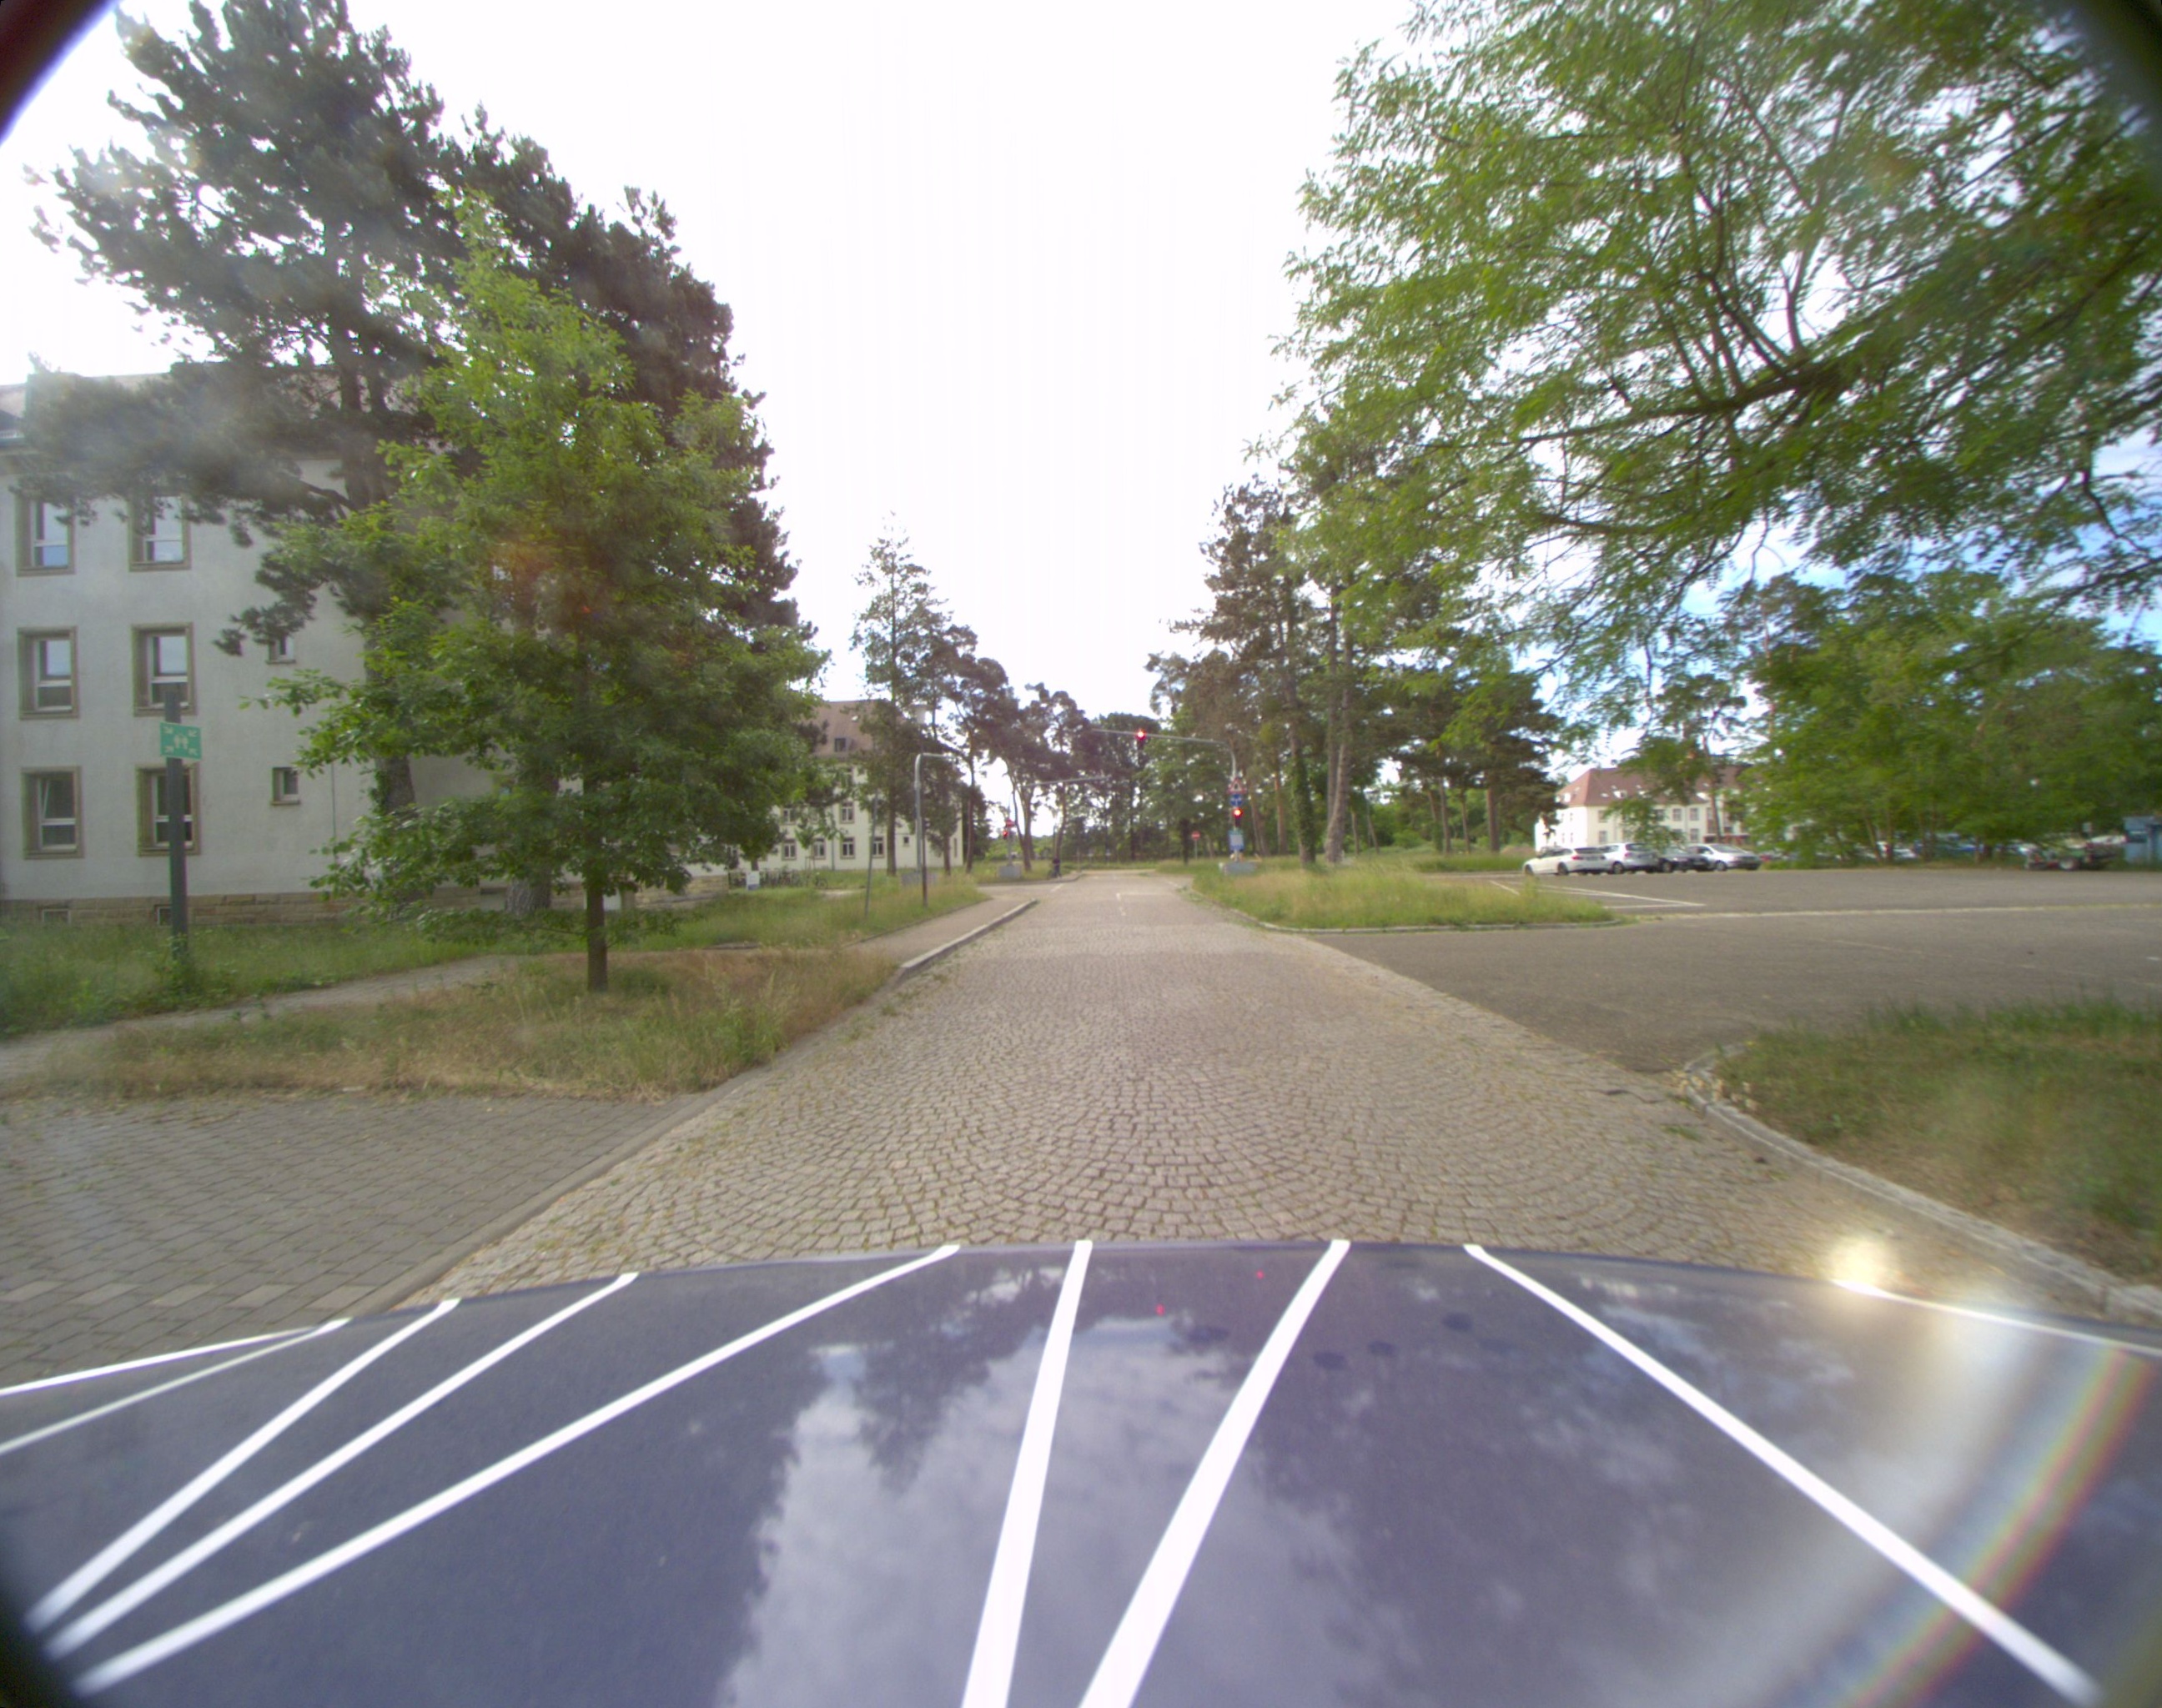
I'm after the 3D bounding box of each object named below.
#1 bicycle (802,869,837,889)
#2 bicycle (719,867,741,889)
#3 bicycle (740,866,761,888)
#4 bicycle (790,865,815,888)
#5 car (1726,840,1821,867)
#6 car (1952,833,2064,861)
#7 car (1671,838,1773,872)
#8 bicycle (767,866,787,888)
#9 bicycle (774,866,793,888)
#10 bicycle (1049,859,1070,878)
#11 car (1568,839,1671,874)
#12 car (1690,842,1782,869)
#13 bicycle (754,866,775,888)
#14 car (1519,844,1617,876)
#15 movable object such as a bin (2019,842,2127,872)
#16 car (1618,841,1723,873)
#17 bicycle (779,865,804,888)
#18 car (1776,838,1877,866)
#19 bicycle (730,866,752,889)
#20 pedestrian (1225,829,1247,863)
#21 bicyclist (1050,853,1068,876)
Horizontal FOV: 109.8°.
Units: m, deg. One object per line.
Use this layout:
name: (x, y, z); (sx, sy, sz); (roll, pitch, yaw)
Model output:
bicycle: (-15.665, 1.494, 45.503); (1.836, 1.079, 0.573); (-2, 2, 5)
bicycle: (-21.777, 1.467, 47.181); (0.572, 1.324, 1.837); (-2, 0, -3)
bicycle: (-20.493, 1.402, 47.115); (0.572, 1.324, 1.837); (-2, 0, -3)
bicycle: (-17.310, 1.373, 47.225); (0.572, 1.324, 1.839); (-1, 0, 10)
car: (44.290, 0.017, 48.741); (1.840, 1.512, 4.586); (-2, -2, 0)
car: (57.877, -0.382, 47.565); (1.748, 1.512, 4.289); (-2, -2, 0)
car: (32.191, 0.097, 38.331); (1.736, 1.512, 4.115); (-2, -2, 2)
bicycle: (-18.869, 1.432, 47.183); (0.572, 1.324, 1.837); (-2, 0, -3)
bicycle: (-18.437, 1.410, 47.157); (0.482, 1.324, 1.837); (-2, 0, -3)
bicycle: (-1.511, 1.025, 53.844); (0.963, 1.268, 2.166); (-1, 0, 14)
car: (26.781, 0.166, 38.023); (1.840, 1.568, 4.586); (-2, -2, 0)
car: (41.662, 0.142, 48.513); (1.840, 1.512, 4.586); (-2, -2, 0)
bicycle: (-19.636, 1.423, 47.143); (0.572, 1.324, 1.837); (-2, 0, -3)
car: (24.169, 0.335, 37.907); (1.840, 1.441, 4.656); (-2, -2, 0)
movable object such as a bin: (32.825, 0.096, 25.197); (1.041, 0.927, 1.935); (-1, 0, -5)
car: (29.438, 0.202, 38.150); (1.839, 1.460, 4.586); (-2, -2, 2)
bicycle: (-17.941, 1.384, 47.130); (0.572, 1.324, 1.839); (-1, 0, 10)
car: (47.012, -0.069, 48.050); (1.840, 1.549, 4.586); (-2, -2, 0)
bicycle: (-21.058, 1.431, 47.106); (0.572, 1.324, 1.837); (-2, 0, -3)
pedestrian: (7.064, -0.376, 34.585); (0.882, 1.509, 0.822); (-1, 0, 16)
bicyclist: (-1.553, 0.724, 53.834); (0.963, 1.625, 0.918); (-1, 0, 14)
